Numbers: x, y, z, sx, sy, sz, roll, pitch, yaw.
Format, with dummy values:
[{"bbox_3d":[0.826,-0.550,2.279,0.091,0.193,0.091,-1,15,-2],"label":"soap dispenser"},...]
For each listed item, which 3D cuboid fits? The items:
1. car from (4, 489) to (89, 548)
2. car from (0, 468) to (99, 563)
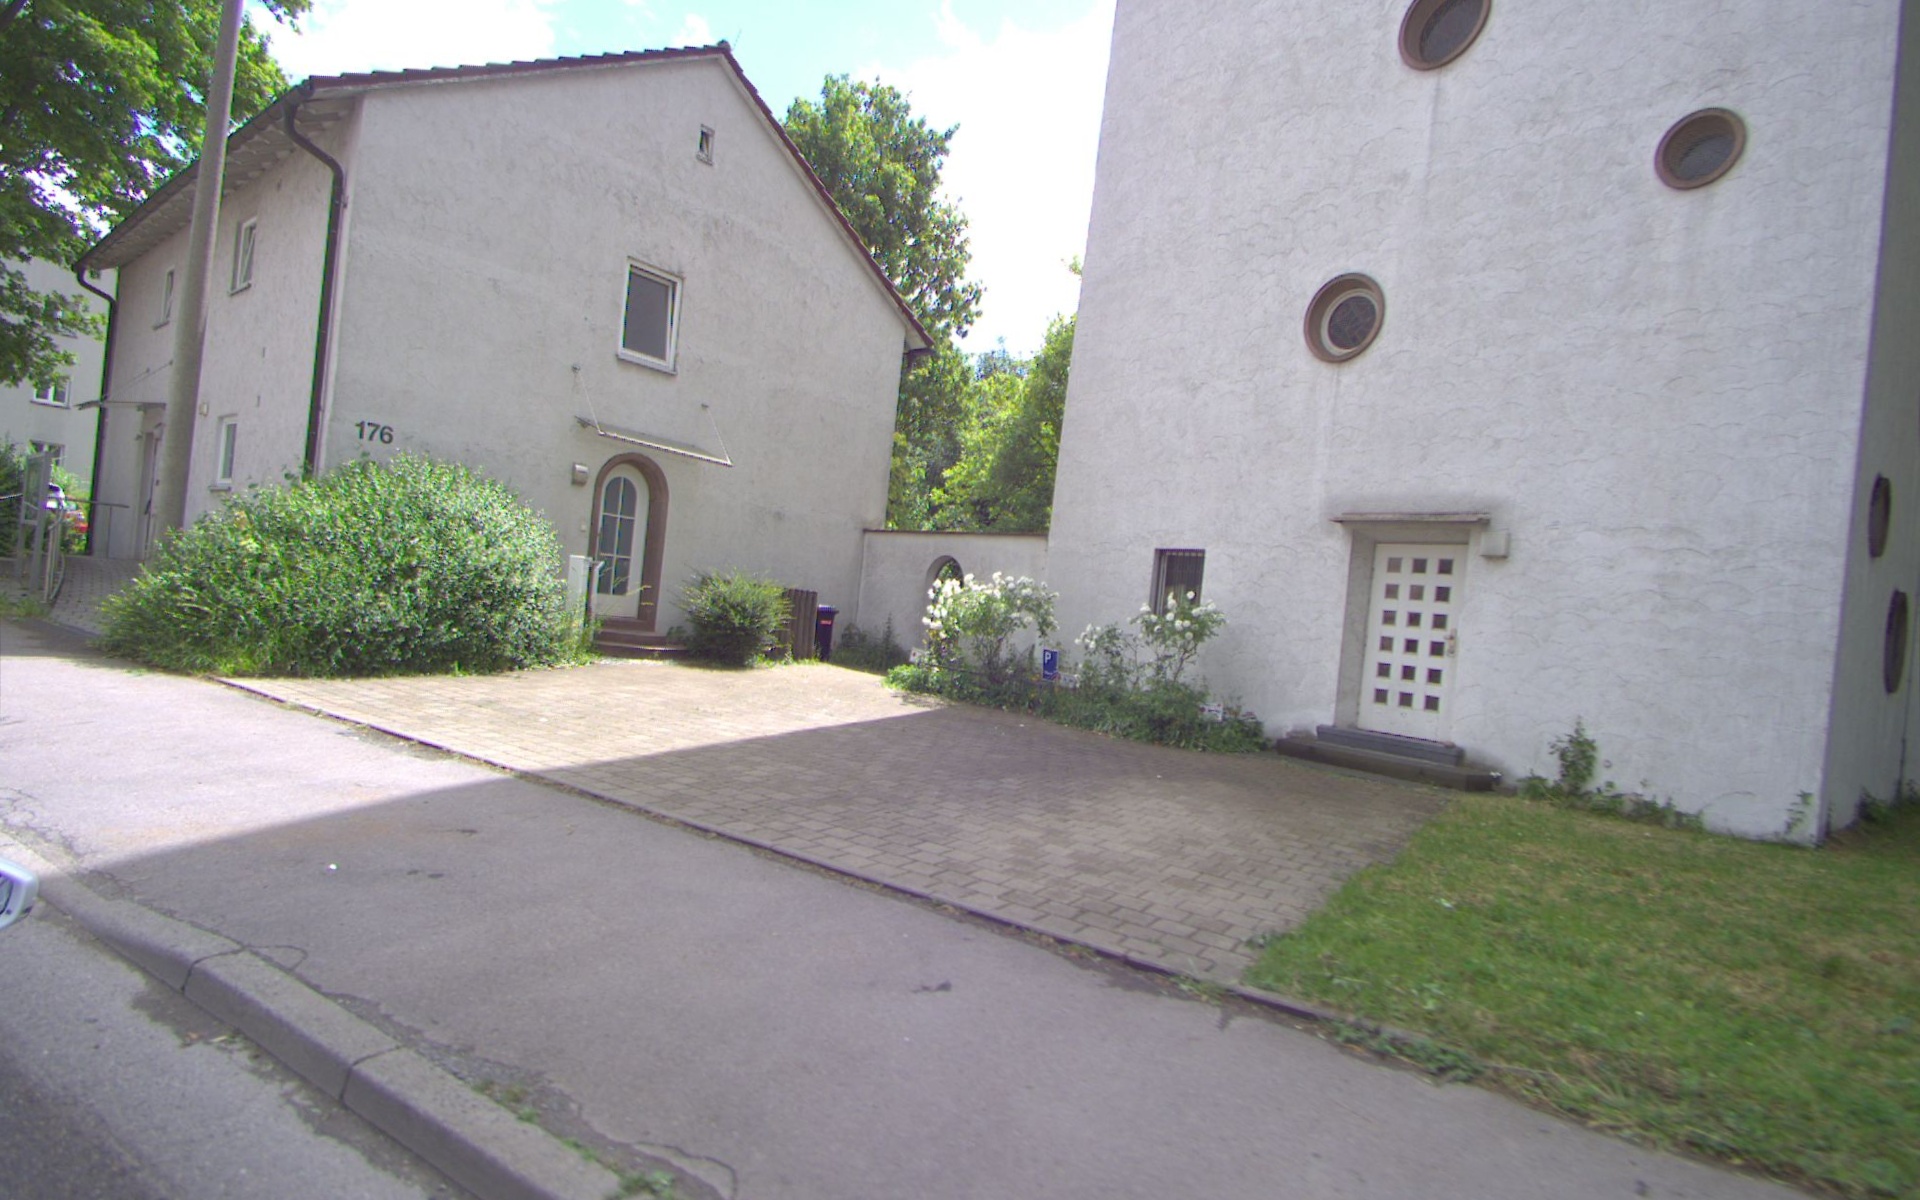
[{"bbox_3d":[-28.096,-2.512,30.903,3.644,1.499,1.658,6,0,44],"label":"car"},{"bbox_3d":[-19.656,-1.799,21.086,3.944,1.670,1.809,6,0,41],"label":"car"}]
